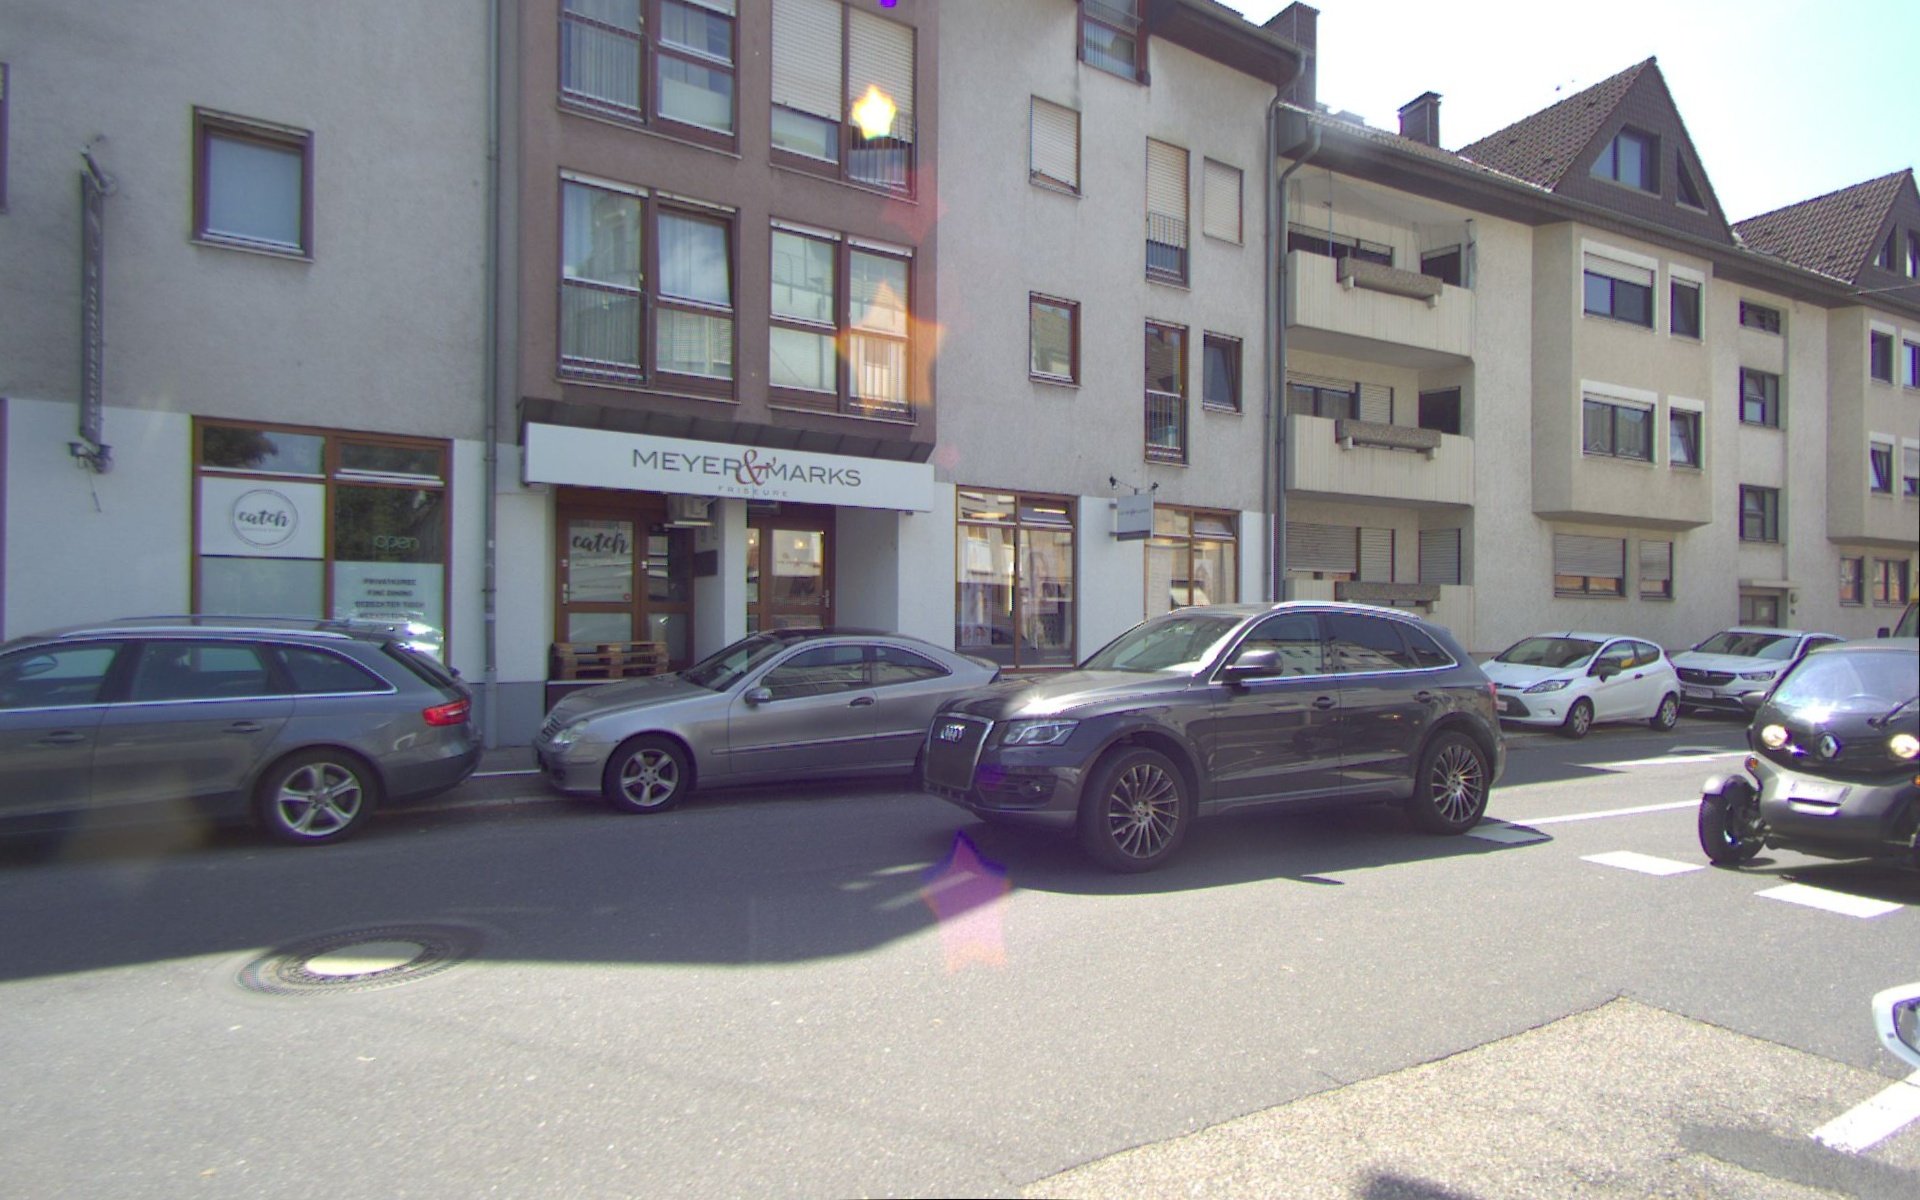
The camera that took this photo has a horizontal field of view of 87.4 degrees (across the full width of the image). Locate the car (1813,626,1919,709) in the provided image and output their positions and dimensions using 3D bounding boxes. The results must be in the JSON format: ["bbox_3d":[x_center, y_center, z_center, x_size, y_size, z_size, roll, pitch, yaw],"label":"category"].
[{"bbox_3d":[19.886,1.366,20.889,4.333,1.508,1.832,2,1,-29],"label":"car"}]

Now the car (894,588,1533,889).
[{"bbox_3d":[1.889,0.849,7.297,4.383,1.642,1.807,2,-3,-26],"label":"car"}]

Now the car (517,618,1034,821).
[{"bbox_3d":[-1.620,0.937,9.162,4.275,1.402,1.831,2,1,-29],"label":"car"}]

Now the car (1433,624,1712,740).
[{"bbox_3d":[9.603,1.195,15.683,4.334,1.509,1.831,2,1,-30],"label":"car"}]

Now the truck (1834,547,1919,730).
[{"bbox_3d":[18.063,0.658,17.144,7.469,2.807,2.217,1,-3,-28],"label":"truck"}]

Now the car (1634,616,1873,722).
[{"bbox_3d":[14.157,1.164,17.885,4.334,1.617,1.831,2,1,-30],"label":"car"}]

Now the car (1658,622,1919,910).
[{"bbox_3d":[5.809,0.890,6.316,2.694,1.478,1.488,1,-1,-34],"label":"car"}]

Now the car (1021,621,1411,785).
[{"bbox_3d":[3.029,1.068,11.650,4.335,1.509,1.830,2,1,-31],"label":"car"}]

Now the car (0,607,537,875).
[{"bbox_3d":[-5.591,0.832,6.755,4.907,1.467,1.832,2,1,-29],"label":"car"}]
